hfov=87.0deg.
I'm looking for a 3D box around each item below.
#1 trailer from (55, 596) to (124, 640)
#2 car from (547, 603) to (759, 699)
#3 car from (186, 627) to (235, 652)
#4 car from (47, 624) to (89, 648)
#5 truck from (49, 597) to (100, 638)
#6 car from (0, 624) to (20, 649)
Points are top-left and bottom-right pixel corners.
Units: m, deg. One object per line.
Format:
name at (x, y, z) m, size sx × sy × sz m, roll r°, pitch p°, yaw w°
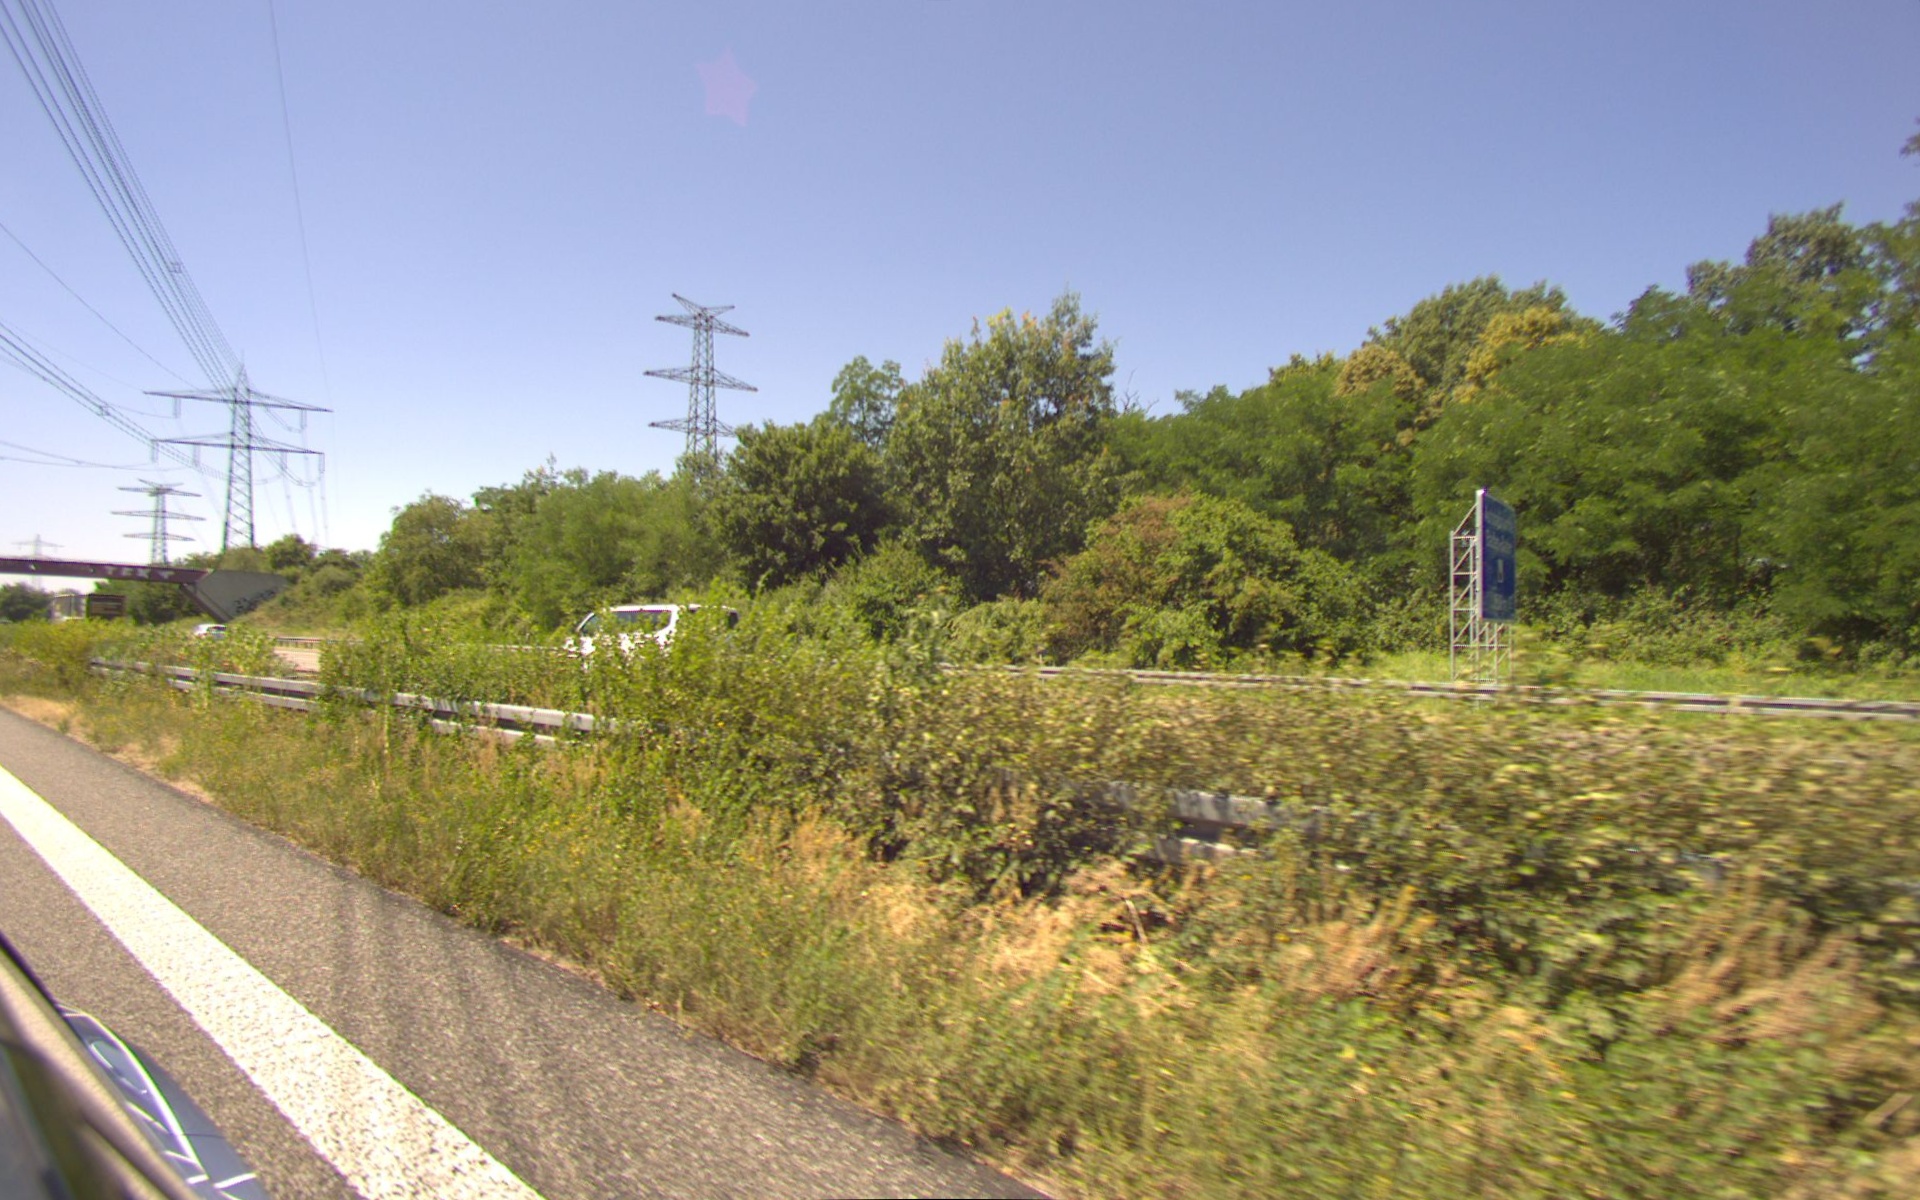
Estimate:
trailer at (-78.064, 1.639, 90.636) m, size 12.711 × 3.716 × 2.844 m, roll -1°, pitch -3°, yaw 41°
car at (-7.121, 1.128, 23.128) m, size 5.409 × 1.947 × 1.973 m, roll -1°, pitch -4°, yaw 40°
car at (-47.708, 2.508, 64.414) m, size 3.735 × 1.513 × 1.695 m, roll -1°, pitch -4°, yaw 41°
car at (-63.172, 2.544, 71.646) m, size 3.735 × 1.608 × 1.746 m, roll -1°, pitch -3°, yaw 41°
truck at (-83.500, 1.709, 95.393) m, size 5.409 × 3.713 × 2.851 m, roll -1°, pitch -3°, yaw 41°
car at (-64.305, 2.405, 67.653) m, size 3.735 × 1.608 × 1.746 m, roll -1°, pitch -3°, yaw 41°
